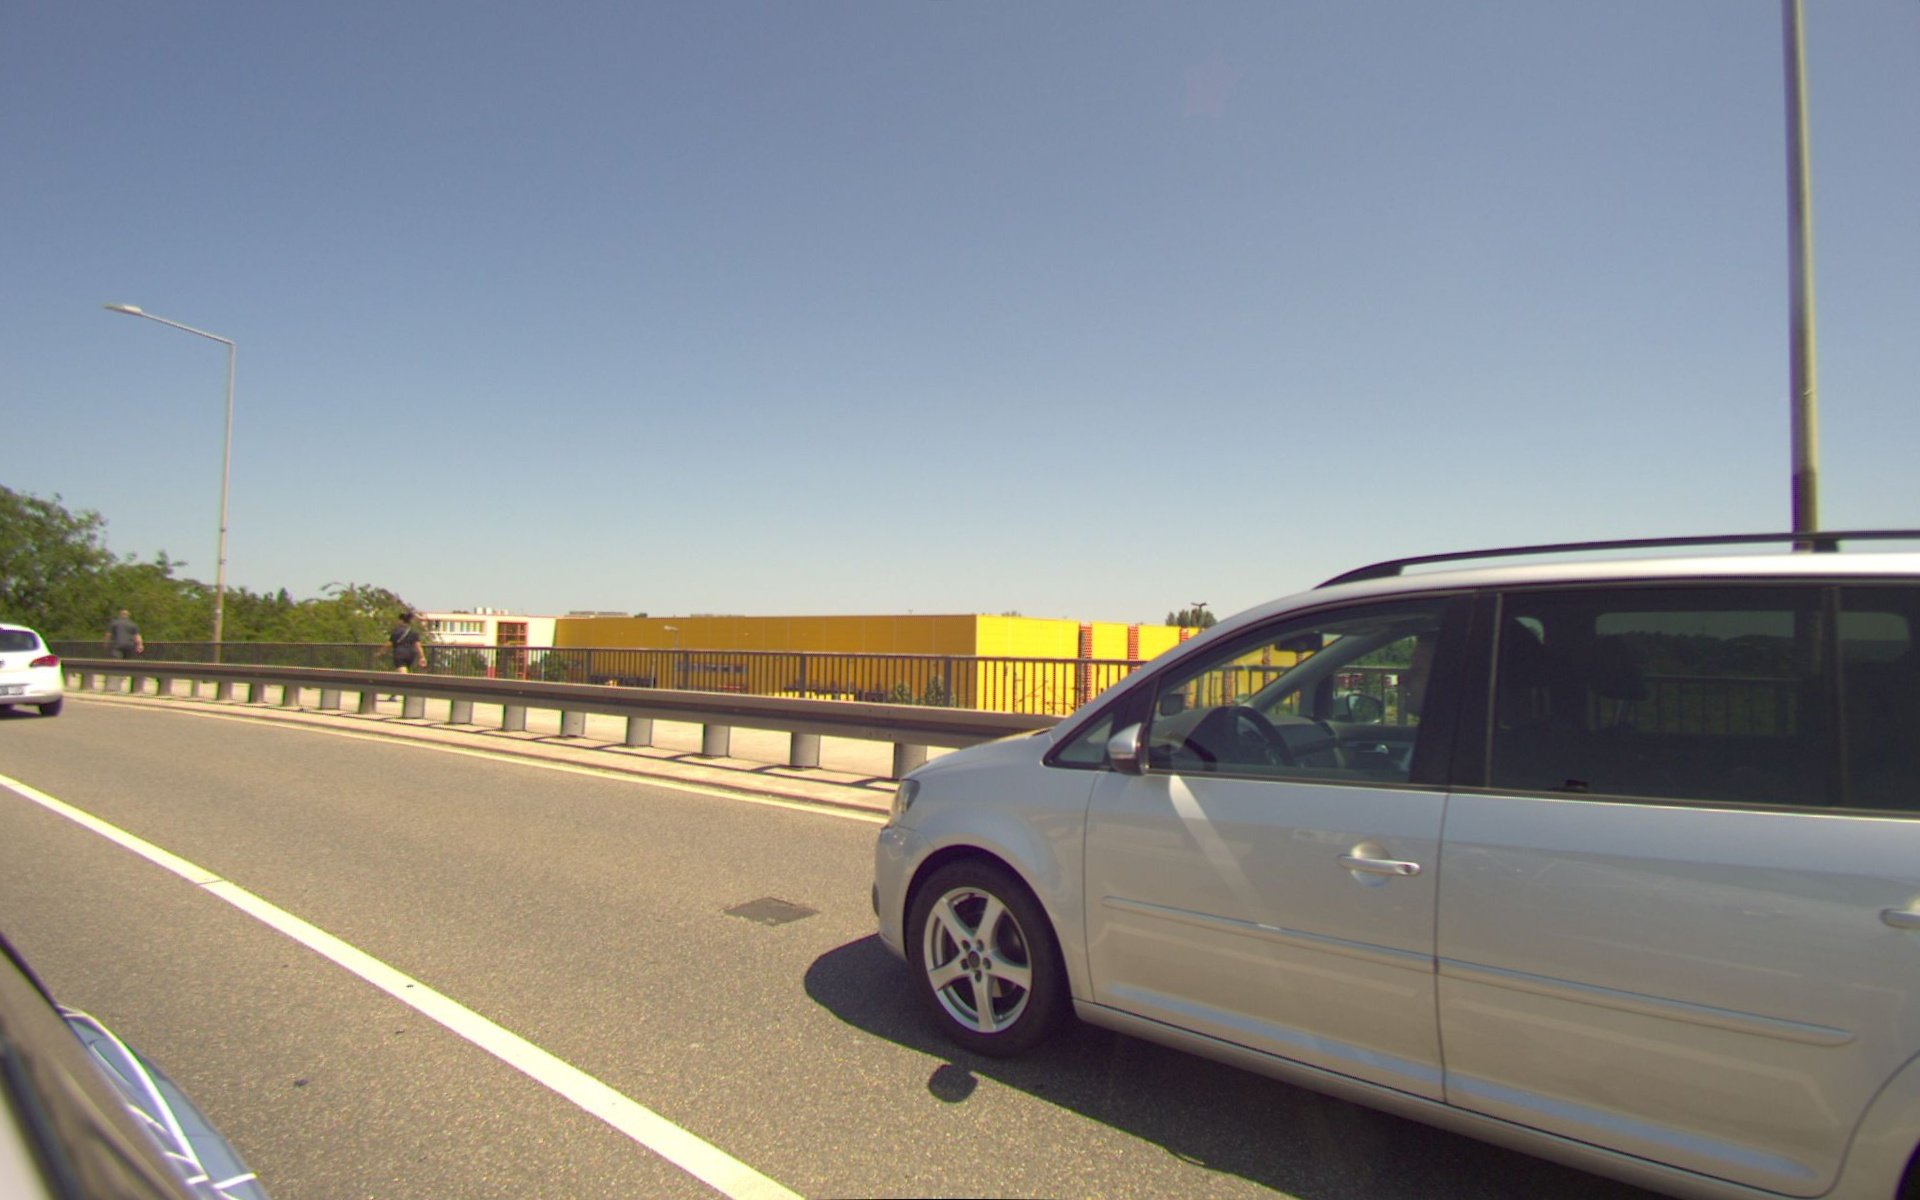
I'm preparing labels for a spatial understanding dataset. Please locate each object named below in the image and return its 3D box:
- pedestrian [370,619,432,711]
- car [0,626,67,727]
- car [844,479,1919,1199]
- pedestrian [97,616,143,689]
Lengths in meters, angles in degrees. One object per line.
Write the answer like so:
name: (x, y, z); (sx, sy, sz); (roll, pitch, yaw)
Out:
pedestrian: (-9.879, 1.136, 17.891); (0.693, 1.573, 0.708); (-1, -3, 37)
car: (-15.929, 1.160, 16.097); (3.857, 1.495, 1.710); (-1, -2, 35)
car: (1.674, 0.623, 2.997); (4.117, 1.627, 1.697); (-1, -2, 41)
pedestrian: (-21.077, 1.297, 25.386); (0.808, 1.796, 0.634); (0, 0, 29)
